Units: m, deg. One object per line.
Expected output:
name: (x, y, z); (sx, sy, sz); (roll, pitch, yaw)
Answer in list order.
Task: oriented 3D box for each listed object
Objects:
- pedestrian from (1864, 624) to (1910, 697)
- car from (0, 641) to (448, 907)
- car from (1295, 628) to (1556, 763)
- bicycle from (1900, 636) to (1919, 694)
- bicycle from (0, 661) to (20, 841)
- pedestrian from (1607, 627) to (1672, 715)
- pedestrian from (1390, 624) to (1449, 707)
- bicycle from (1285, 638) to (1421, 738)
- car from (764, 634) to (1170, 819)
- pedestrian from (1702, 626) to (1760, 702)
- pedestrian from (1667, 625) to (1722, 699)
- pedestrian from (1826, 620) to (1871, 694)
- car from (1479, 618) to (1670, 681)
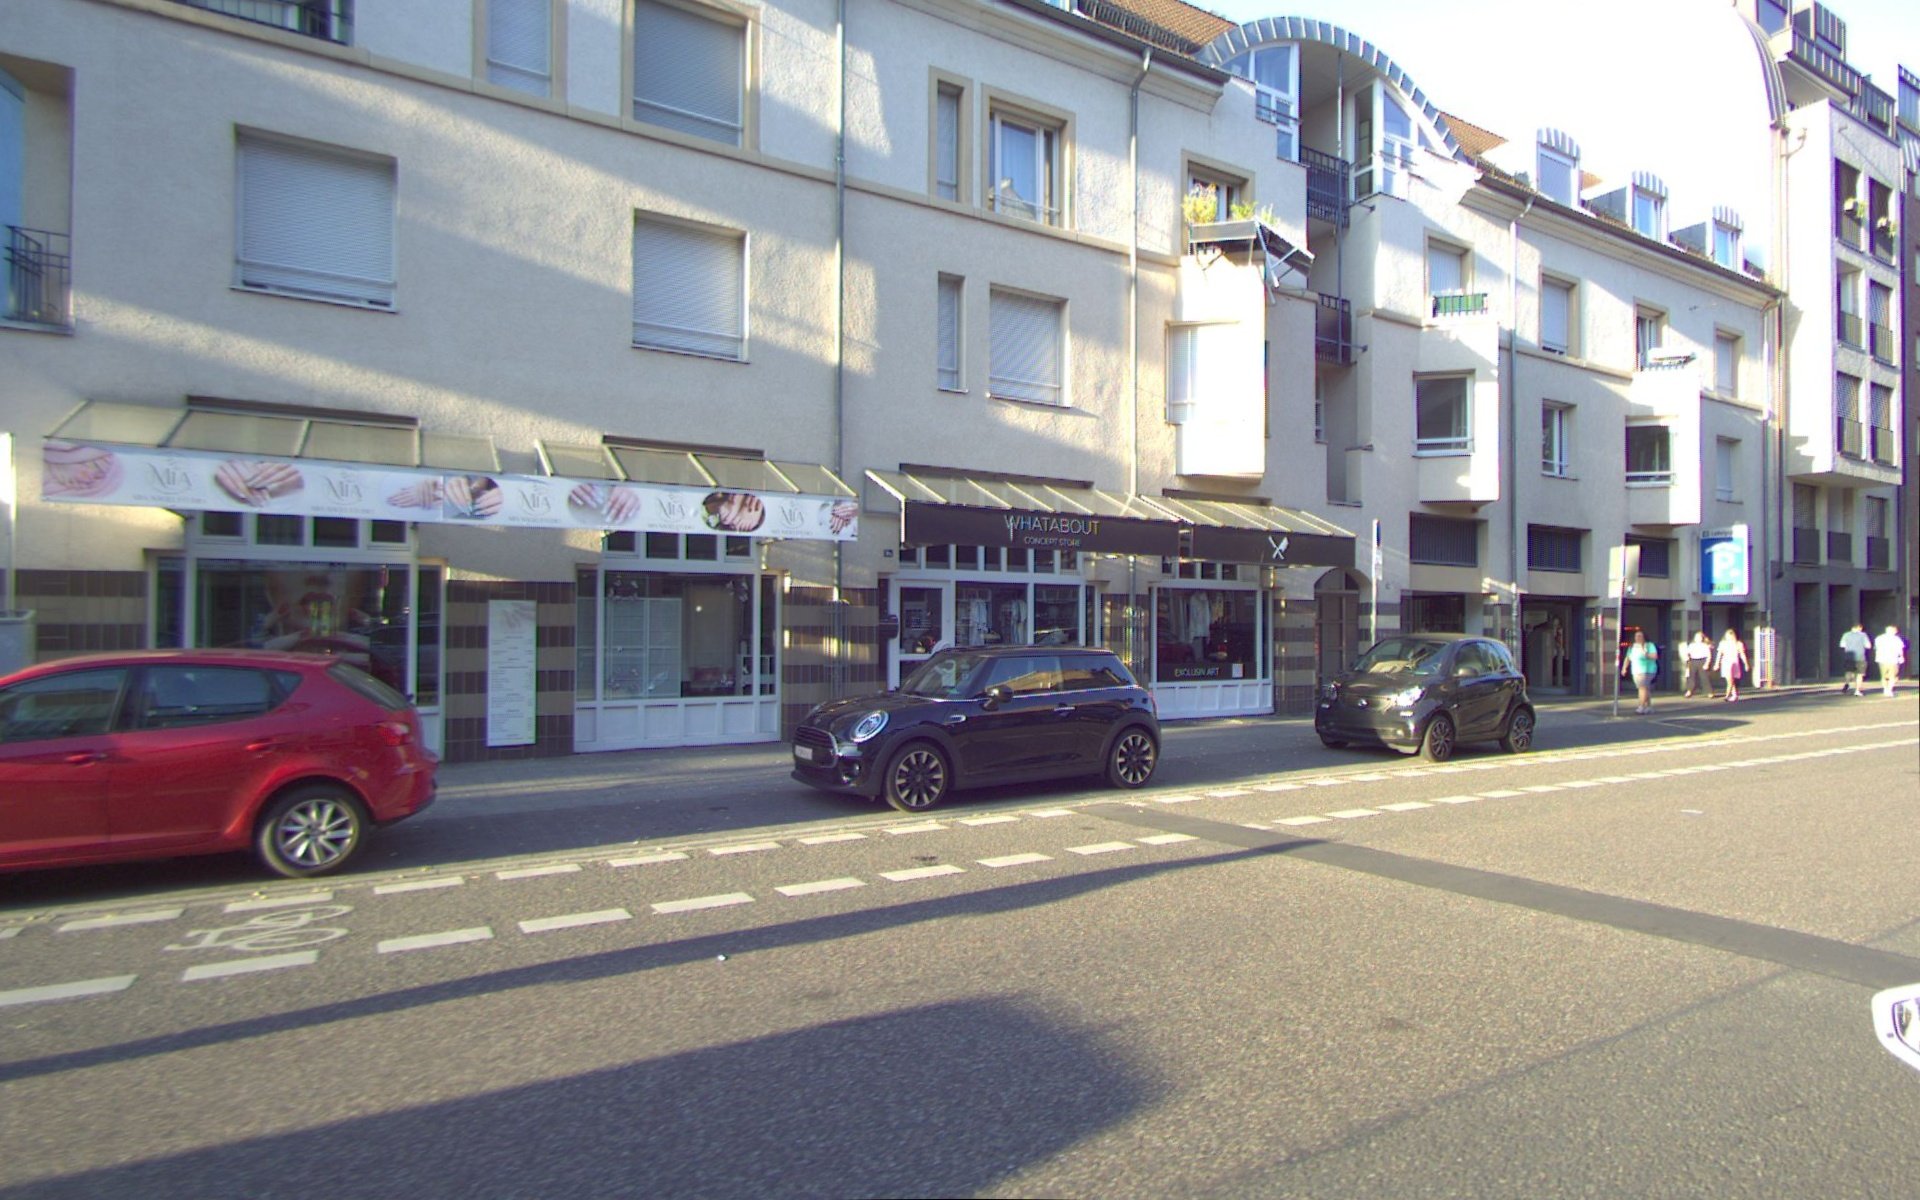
pedestrian: (23.176, 1.496, 25.112); (0.732, 1.763, 0.711); (2, 0, -38)
car: (-5.532, 1.017, 6.517); (3.839, 1.421, 1.652); (2, 0, -31)
car: (6.255, 1.171, 13.459); (3.155, 1.555, 1.781); (1, -1, -33)
bicycle: (24.711, 1.644, 25.558); (3.126, 1.414, 0.715); (2, 0, -39)
bicycle: (-8.380, 1.091, 6.565); (3.092, 1.317, 0.953); (2, 0, -32)
pedestrian: (13.334, 1.371, 19.710); (0.941, 1.663, 0.712); (2, 0, -33)
pedestrian: (9.421, 1.322, 20.609); (0.844, 1.637, 0.714); (2, 0, -28)
bicycle: (5.975, 1.299, 15.212); (2.331, 1.393, 0.607); (2, 0, -31)
car: (0.108, 1.123, 9.994); (3.681, 1.473, 1.703); (2, 0, -30)
pedestrian: (17.462, 1.438, 22.758); (0.844, 1.663, 0.714); (1, 0, -26)
pedestrian: (17.174, 1.433, 23.488); (0.844, 1.663, 0.714); (1, 0, -25)
pedestrian: (22.244, 1.419, 25.151); (0.688, 1.790, 0.711); (2, 0, -38)
car: (18.028, 1.414, 29.715); (1.974, 1.623, 4.479); (2, 0, -26)
